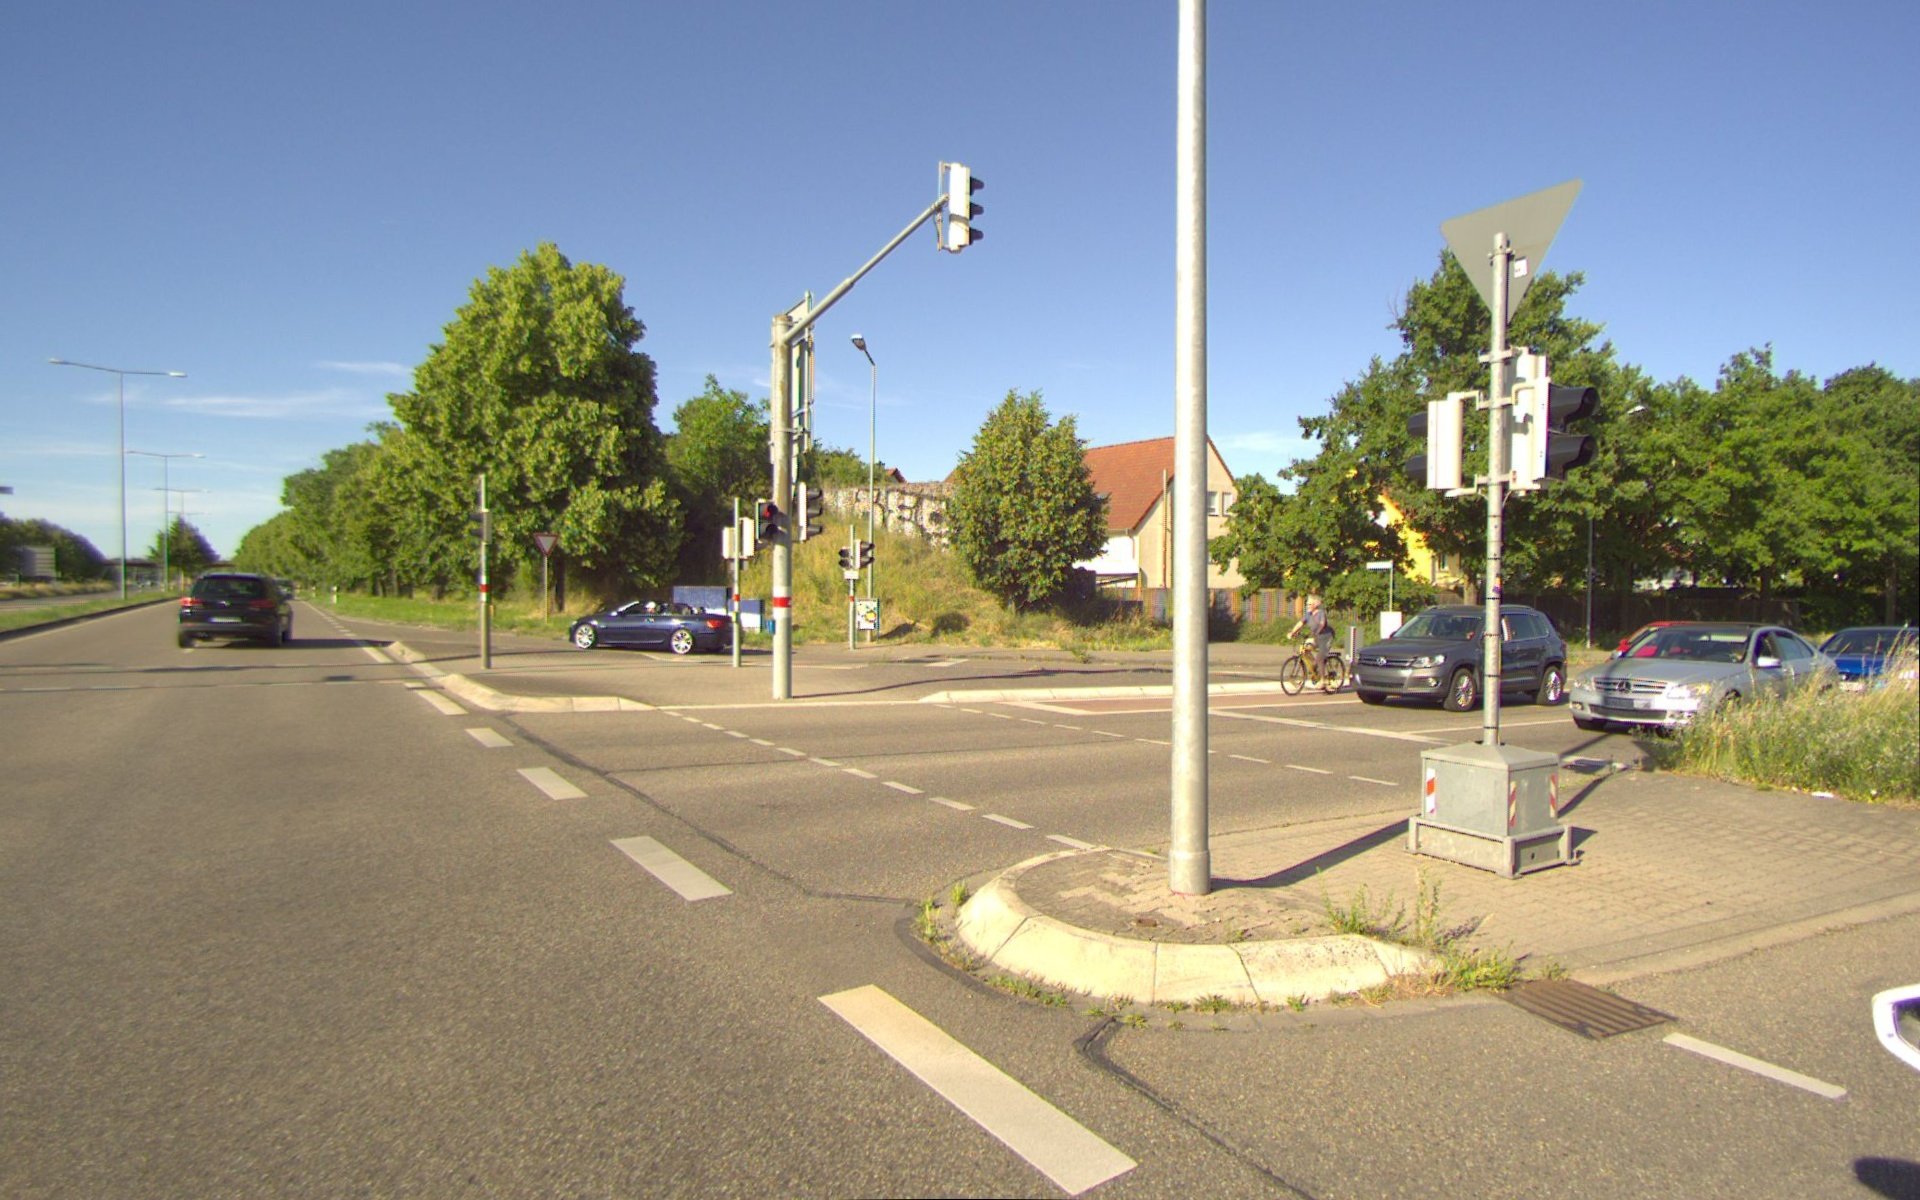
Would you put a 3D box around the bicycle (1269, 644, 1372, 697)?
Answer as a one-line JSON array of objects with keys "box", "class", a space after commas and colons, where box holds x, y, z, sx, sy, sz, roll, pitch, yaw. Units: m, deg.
[{"box": [6.679, 1.279, 18.591, 1.968, 0.859, 0.745, 0, 1, -32], "class": "bicycle"}]

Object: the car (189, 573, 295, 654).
[{"box": [-16.550, 0.229, 23.317, 1.813, 1.649, 3.962, -1, 3, -33], "class": "car"}]

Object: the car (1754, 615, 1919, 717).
[{"box": [15.275, 1.017, 16.933, 3.843, 1.503, 1.738, 0, 0, -31], "class": "car"}]

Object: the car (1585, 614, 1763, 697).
[{"box": [14.589, 1.065, 20.490, 3.671, 1.503, 1.637, 0, 0, -31], "class": "car"}]

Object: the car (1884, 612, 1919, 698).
[{"box": [20.686, 1.081, 20.185, 4.479, 1.638, 1.983, 0, 0, -32], "class": "car"}]

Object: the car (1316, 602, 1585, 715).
[{"box": [8.336, 0.881, 16.982, 4.478, 1.666, 1.983, 0, 0, -31], "class": "car"}]

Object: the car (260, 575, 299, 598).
[{"box": [-51.235, -1.013, 75.606, 2.030, 1.638, 4.368, -3, 2, -39], "class": "car"}]

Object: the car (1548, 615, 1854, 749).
[{"box": [10.145, 0.986, 13.670, 4.478, 1.526, 1.784, 0, 0, -31], "class": "car"}]

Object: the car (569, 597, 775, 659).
[{"box": [-7.267, 0.681, 25.552, 4.588, 1.327, 2.049, 2, 0, 13], "class": "car"}]

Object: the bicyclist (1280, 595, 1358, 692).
[{"box": [6.628, 0.784, 18.556, 1.228, 1.725, 0.740, 0, 1, -32], "class": "bicyclist"}]
